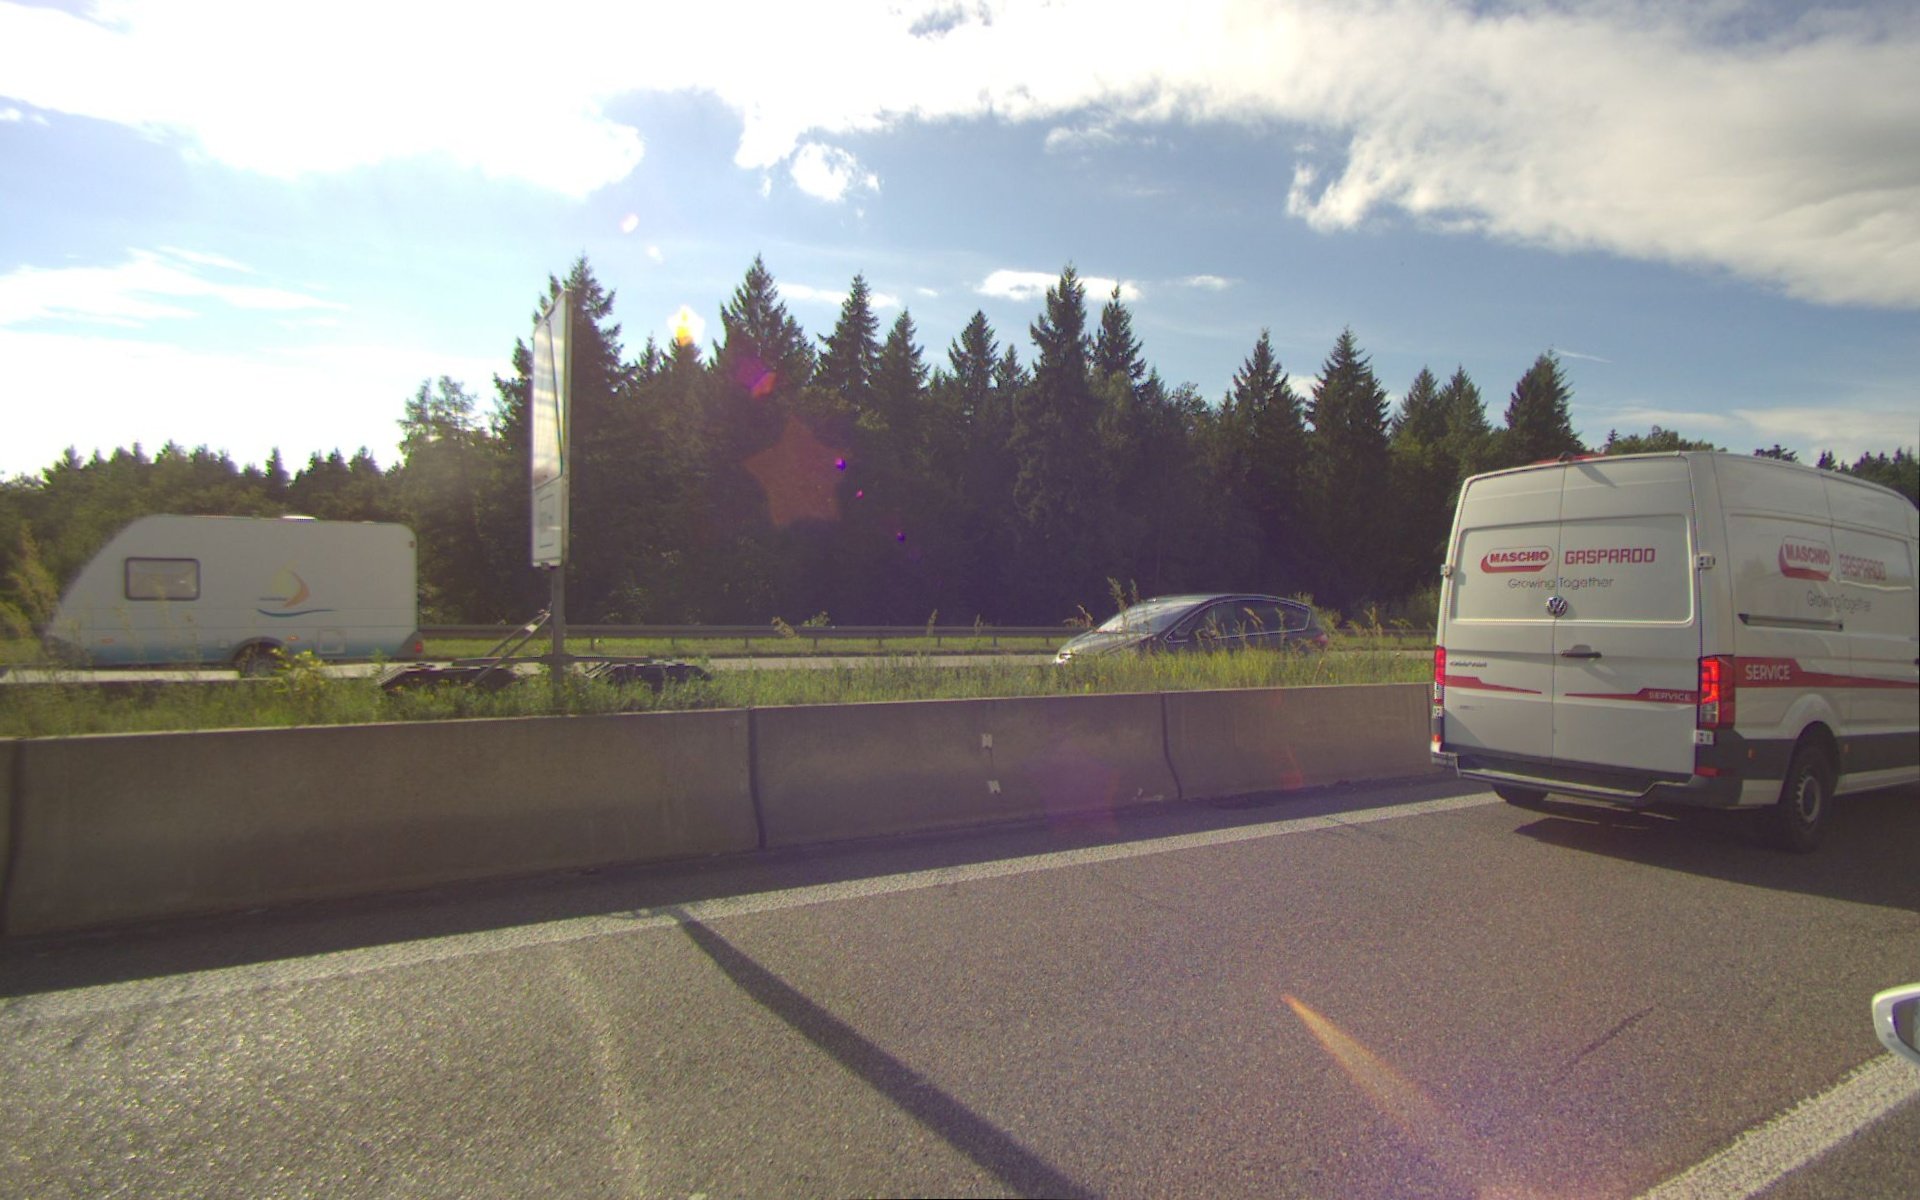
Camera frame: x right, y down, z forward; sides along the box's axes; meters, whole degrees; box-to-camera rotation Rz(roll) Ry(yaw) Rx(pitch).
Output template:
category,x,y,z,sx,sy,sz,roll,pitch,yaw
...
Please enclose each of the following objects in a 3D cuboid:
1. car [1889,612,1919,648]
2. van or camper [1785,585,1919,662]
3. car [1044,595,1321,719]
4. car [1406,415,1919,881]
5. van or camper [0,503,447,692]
category,x,y,z,sx,sy,sz,roll,pitch,yaw
car,50.136,1.573,52.095,3.602,1.738,1.780,2,3,-30
van or camper,33.344,0.870,37.310,7.072,2.627,1.937,1,0,-32
car,3.315,0.771,14.871,3.764,1.626,1.820,1,0,-30
car,6.416,0.322,8.146,6.112,2.633,2.005,1,0,-32
van or camper,-11.166,0.015,15.296,5.787,2.446,2.446,2,0,-32
